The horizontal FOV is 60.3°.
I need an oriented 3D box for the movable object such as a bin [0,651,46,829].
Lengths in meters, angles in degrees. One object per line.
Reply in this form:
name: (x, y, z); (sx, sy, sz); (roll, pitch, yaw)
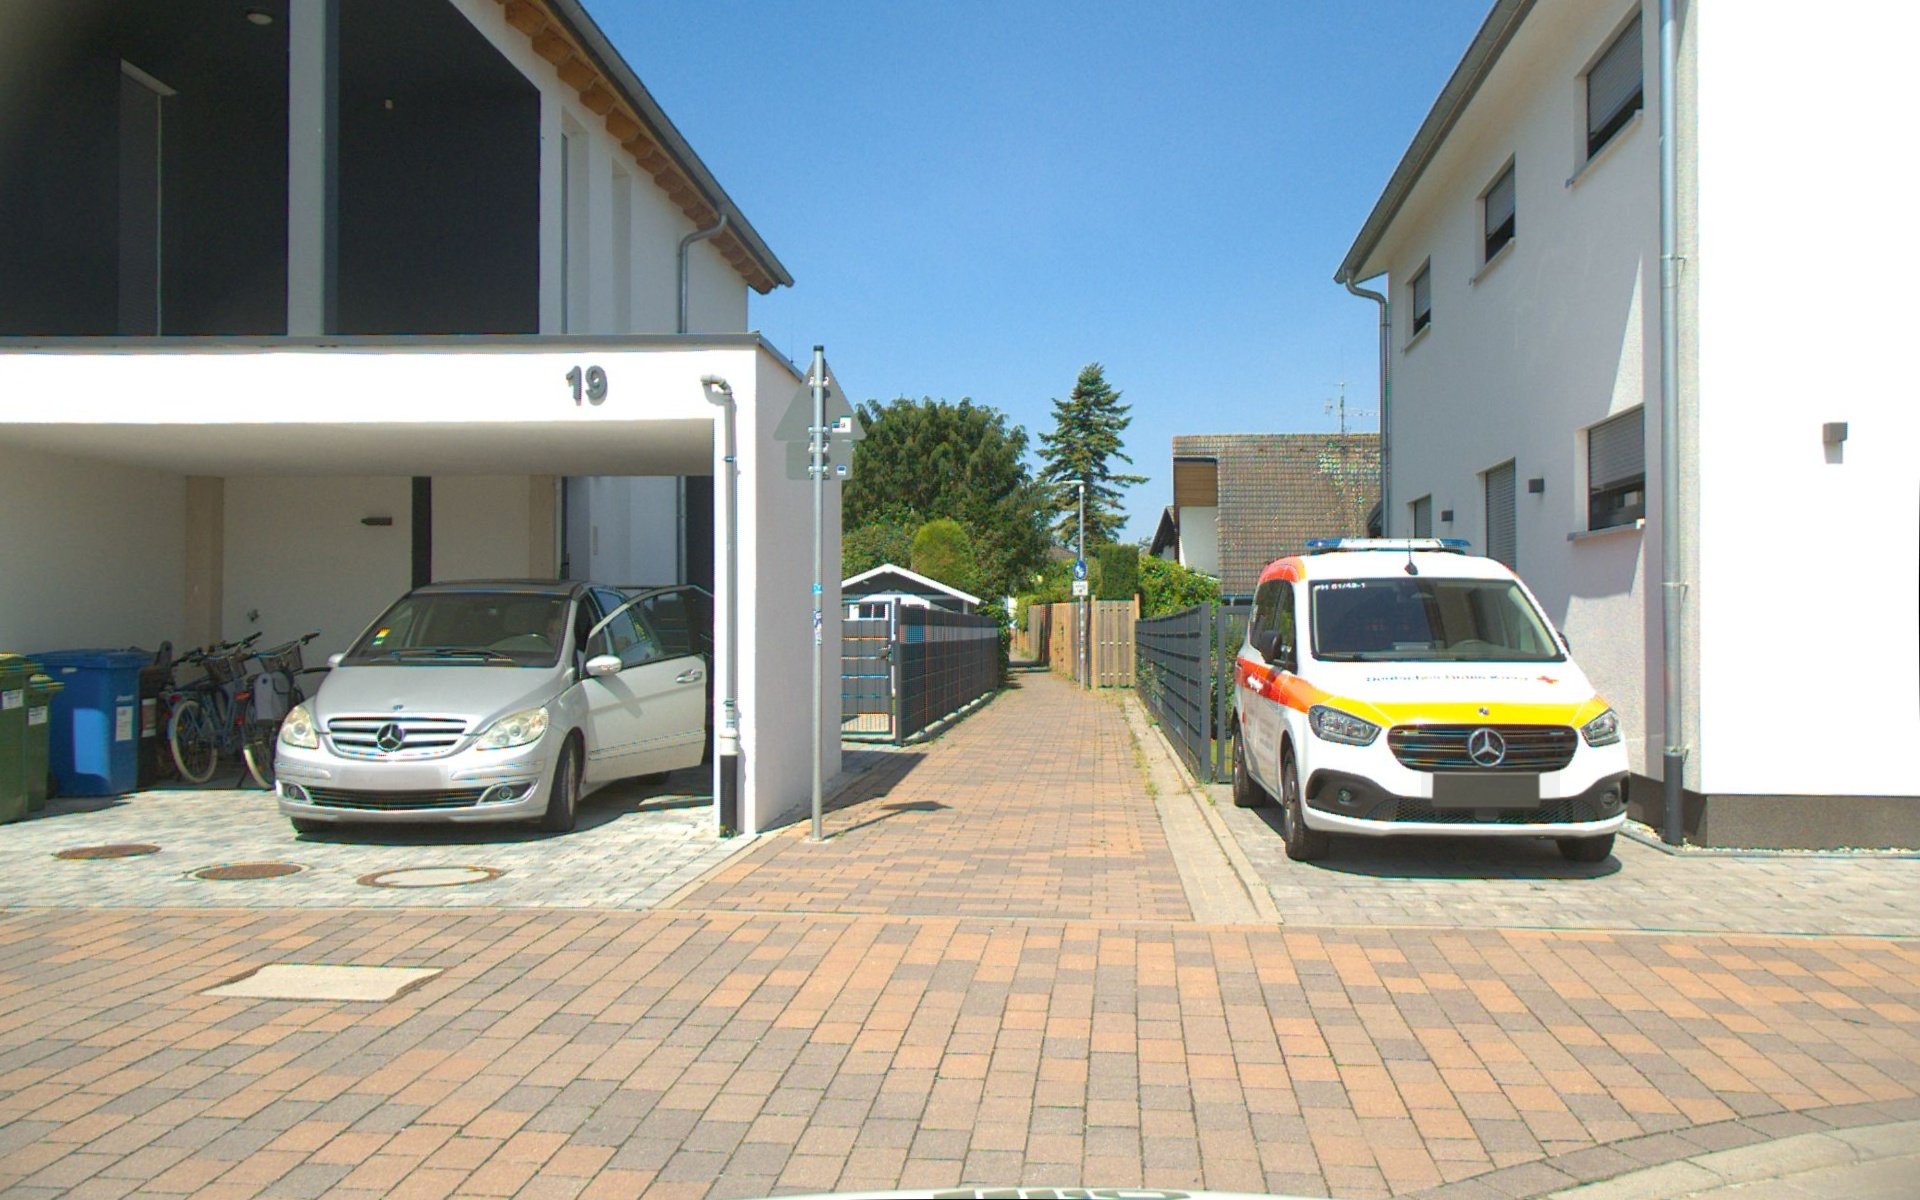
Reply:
movable object such as a bin: (-6.384, 0.905, 10.737); (0.587, 1.111, 0.500); (-2, 0, 1)

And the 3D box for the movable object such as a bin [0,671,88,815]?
movable object such as a bin: (-6.369, 0.968, 11.307); (0.548, 0.921, 0.500); (1, 1, 1)

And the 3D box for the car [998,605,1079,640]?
car: (4.036, 1.149, 84.645); (4.060, 1.747, 1.906); (0, -1, 3)

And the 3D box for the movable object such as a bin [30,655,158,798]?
movable object such as a bin: (-6.403, 0.926, 12.246); (0.661, 1.004, 0.500); (1, 0, 1)

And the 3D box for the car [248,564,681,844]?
car: (-3.174, 0.628, 11.518); (1.704, 1.589, 4.165); (0, -1, 1)

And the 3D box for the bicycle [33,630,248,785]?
bicycle: (-6.754, 0.847, 13.773); (0.761, 1.146, 2.132); (1, 0, -2)

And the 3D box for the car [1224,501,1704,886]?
car: (2.884, 0.493, 10.619); (1.891, 1.908, 4.753); (0, -1, 3)

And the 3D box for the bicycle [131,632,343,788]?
bicycle: (-5.918, 0.860, 13.695); (0.713, 1.146, 2.134); (1, 0, 3)
